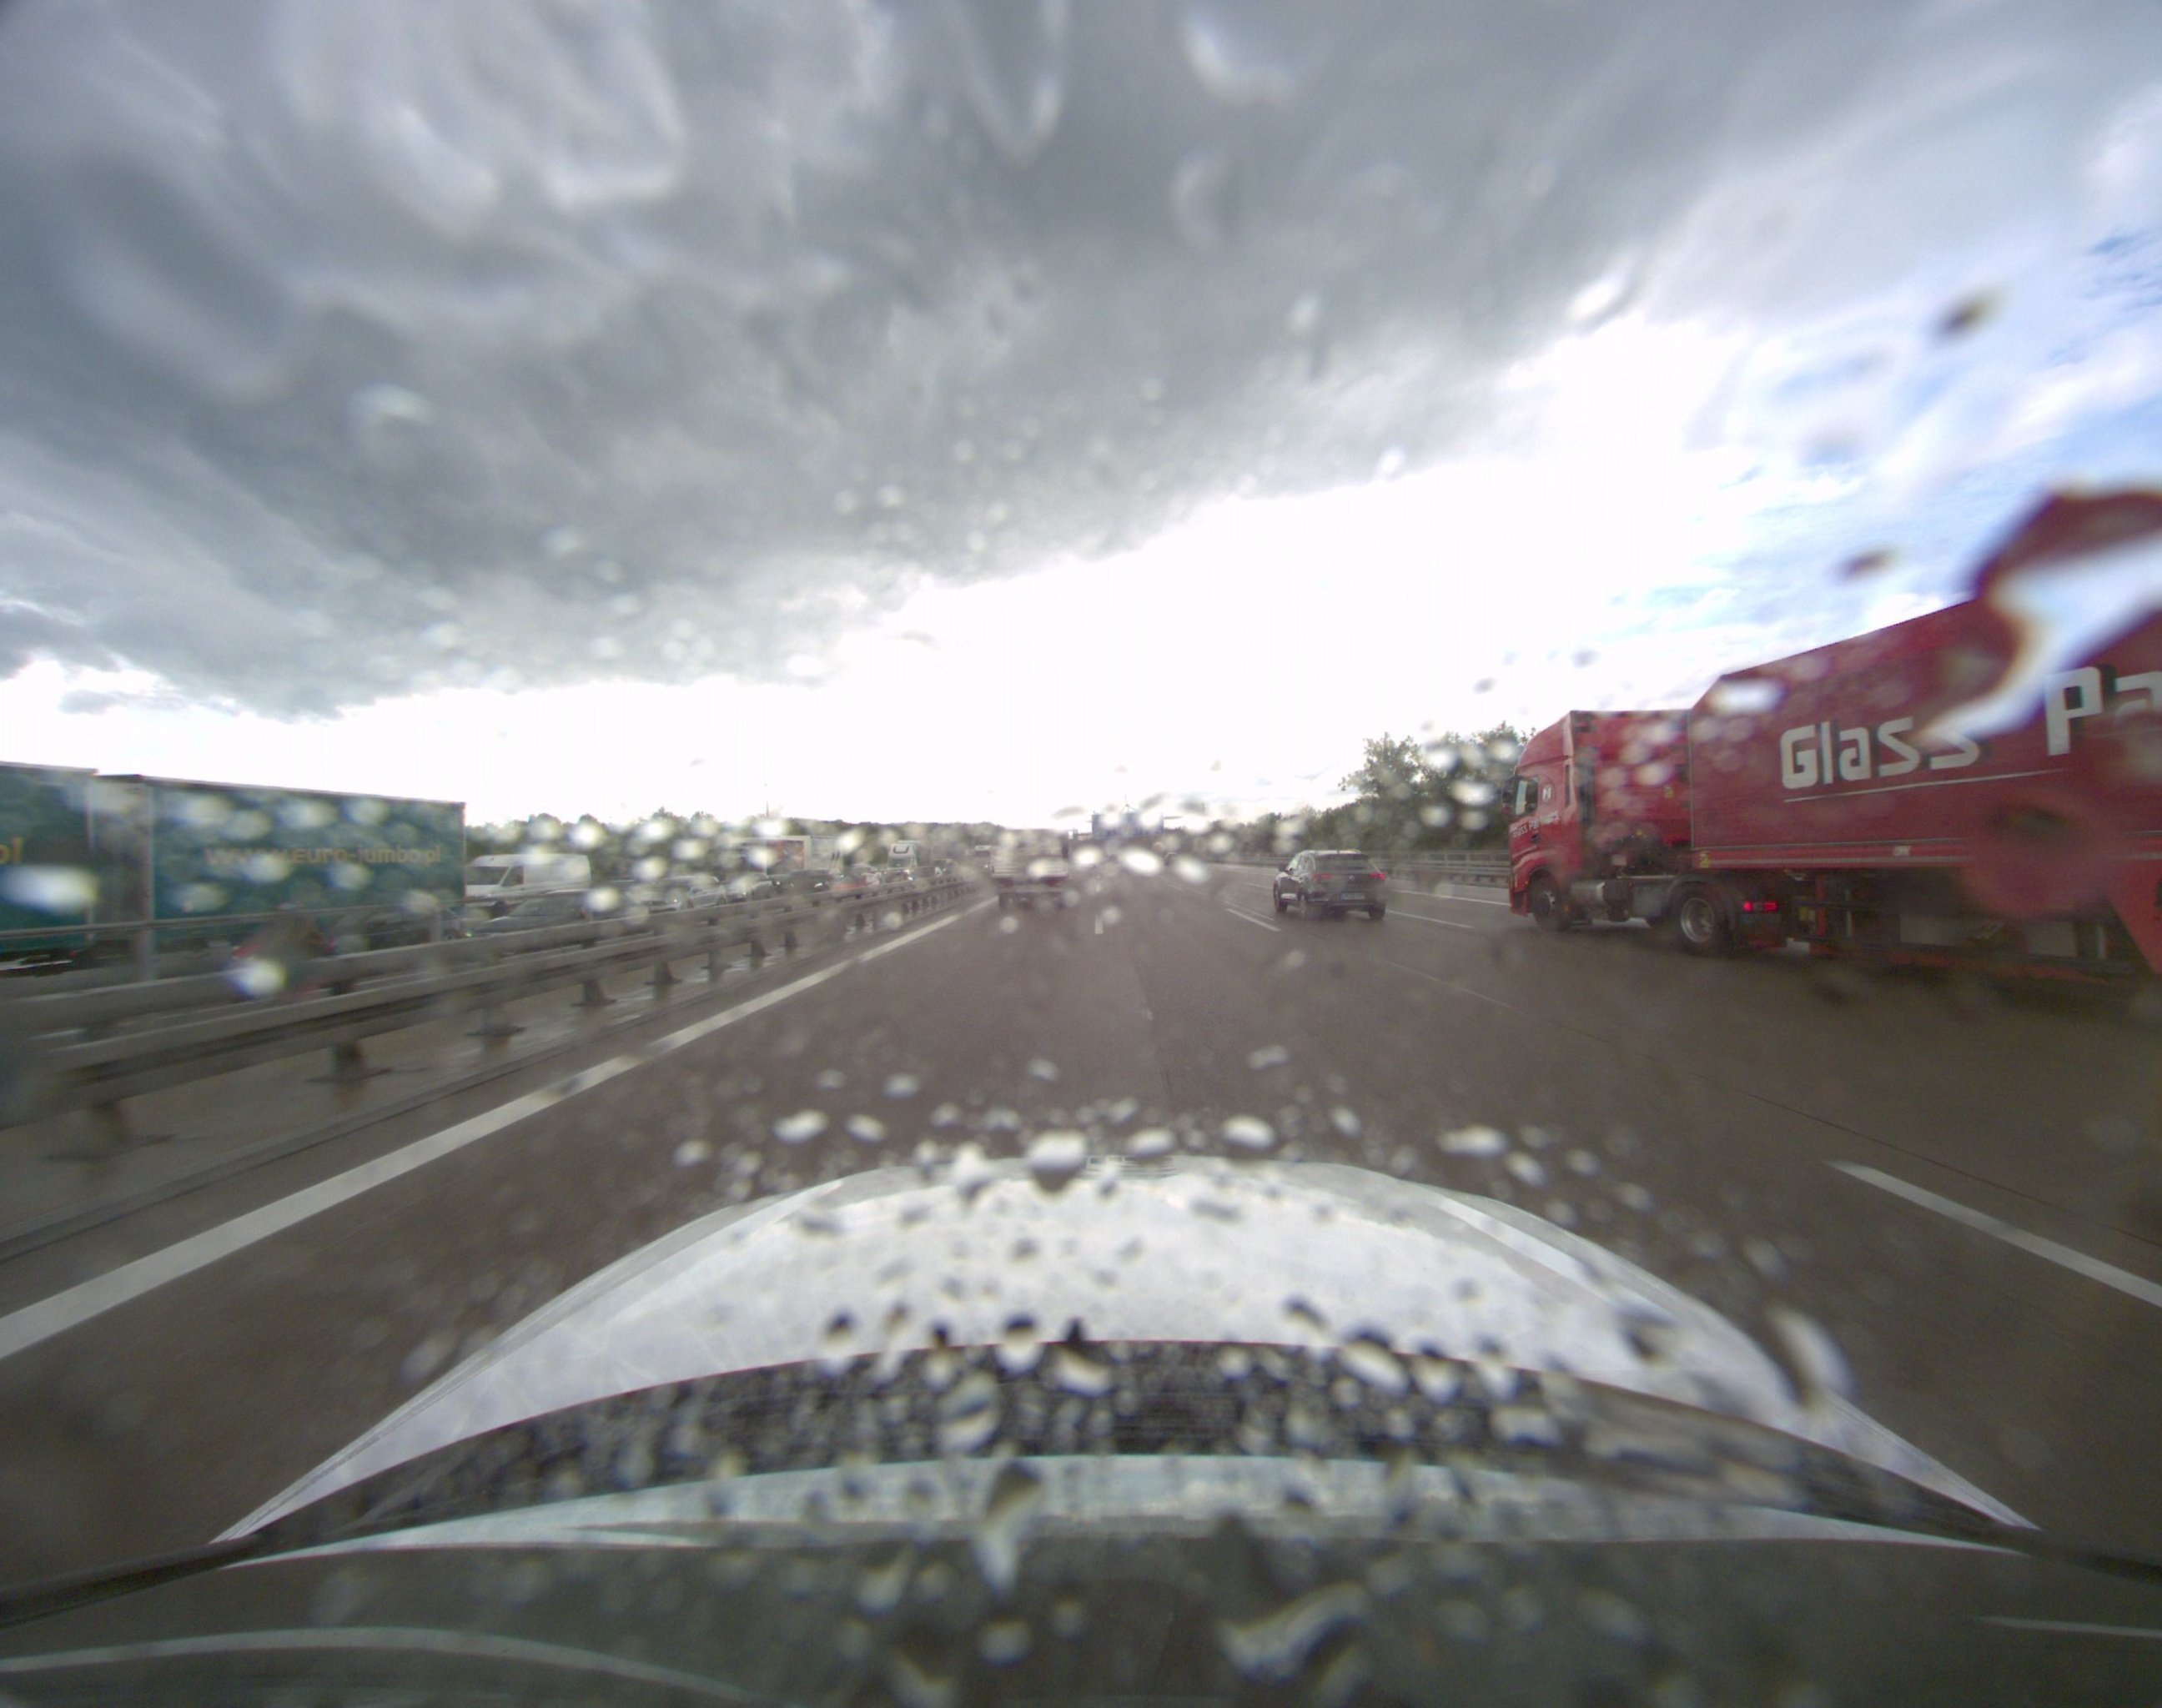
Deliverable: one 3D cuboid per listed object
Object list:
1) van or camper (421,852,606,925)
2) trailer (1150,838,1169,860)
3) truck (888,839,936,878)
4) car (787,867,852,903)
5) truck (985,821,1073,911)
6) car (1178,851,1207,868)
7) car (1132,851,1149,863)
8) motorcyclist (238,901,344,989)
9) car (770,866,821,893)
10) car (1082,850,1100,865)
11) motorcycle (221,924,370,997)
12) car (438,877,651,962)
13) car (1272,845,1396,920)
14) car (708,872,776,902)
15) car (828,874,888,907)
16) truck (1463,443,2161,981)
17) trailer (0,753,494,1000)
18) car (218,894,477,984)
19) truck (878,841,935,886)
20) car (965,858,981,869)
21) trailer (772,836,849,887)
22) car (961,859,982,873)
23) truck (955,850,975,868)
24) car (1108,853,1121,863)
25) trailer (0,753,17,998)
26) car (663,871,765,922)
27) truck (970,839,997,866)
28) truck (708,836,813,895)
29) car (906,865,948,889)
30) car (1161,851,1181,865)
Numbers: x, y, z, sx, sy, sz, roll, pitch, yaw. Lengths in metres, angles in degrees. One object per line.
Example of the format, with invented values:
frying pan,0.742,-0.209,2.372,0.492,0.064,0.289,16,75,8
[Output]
van or camper,-22.816,1.262,33.340,2.236,2.578,7.365,-2,0,1
trailer,15.798,-0.992,164.554,3.319,4.175,11.845,-1,0,2
truck,-17.796,0.482,86.135,3.187,3.933,7.577,-1,0,2
car,-14.328,1.659,44.861,1.713,1.728,5.107,-2,0,2
truck,-1.455,0.307,25.617,2.346,2.408,7.355,-1,0,-1
car,11.170,0.500,81.885,2.099,1.605,5.063,-1,0,-1
car,9.013,0.412,123.689,2.091,1.699,3.998,-1,0,-1
motorcyclist,-13.321,1.514,13.772,0.725,1.341,1.030,-2,0,2
car,-18.460,1.600,52.846,1.713,1.535,4.087,-2,0,2
car,1.251,0.387,98.152,2.037,1.699,4.002,-1,0,2
motorcycle,-13.298,1.776,13.873,0.731,0.966,1.790,-2,0,2
car,-11.348,1.314,17.616,1.825,1.452,4.002,-2,0,2
car,5.752,0.606,19.006,1.786,1.562,3.722,-1,0,1
car,-18.108,1.729,43.705,1.662,1.354,4.220,-2,0,2
car,-10.972,1.762,40.328,1.567,1.354,4.386,-2,0,2
truck,9.711,-1.104,9.807,3.141,4.003,15.640,-1,0,1
trailer,-19.066,0.384,18.459,2.808,4.061,11.606,-1,0,2
car,-15.502,1.725,17.561,1.825,1.452,4.002,-2,0,2
truck,-14.362,0.746,67.691,2.510,3.399,8.544,-2,0,2
car,-15.983,1.386,120.973,1.639,1.545,4.002,-2,0,2
trailer,-22.674,0.568,68.860,3.207,3.959,8.854,-1,0,2
car,-13.540,1.477,101.027,1.814,1.624,4.700,-2,0,2
truck,-21.271,0.875,149.538,2.508,2.986,7.022,-2,0,1
car,5.770,0.627,142.178,2.039,1.699,3.999,-1,0,0
trailer,-19.283,0.368,10.464,2.824,4.029,6.316,-1,0,1
car,-13.858,1.546,31.084,1.758,1.624,4.778,-2,0,-1
truck,-15.975,-0.270,134.210,3.166,4.194,7.740,-2,0,1
truck,-23.017,0.757,59.275,3.213,3.910,10.286,-1,0,2
car,-10.901,1.601,57.880,1.713,1.502,5.505,-2,0,2
car,11.686,0.493,105.928,2.039,1.699,5.005,-1,0,-1
